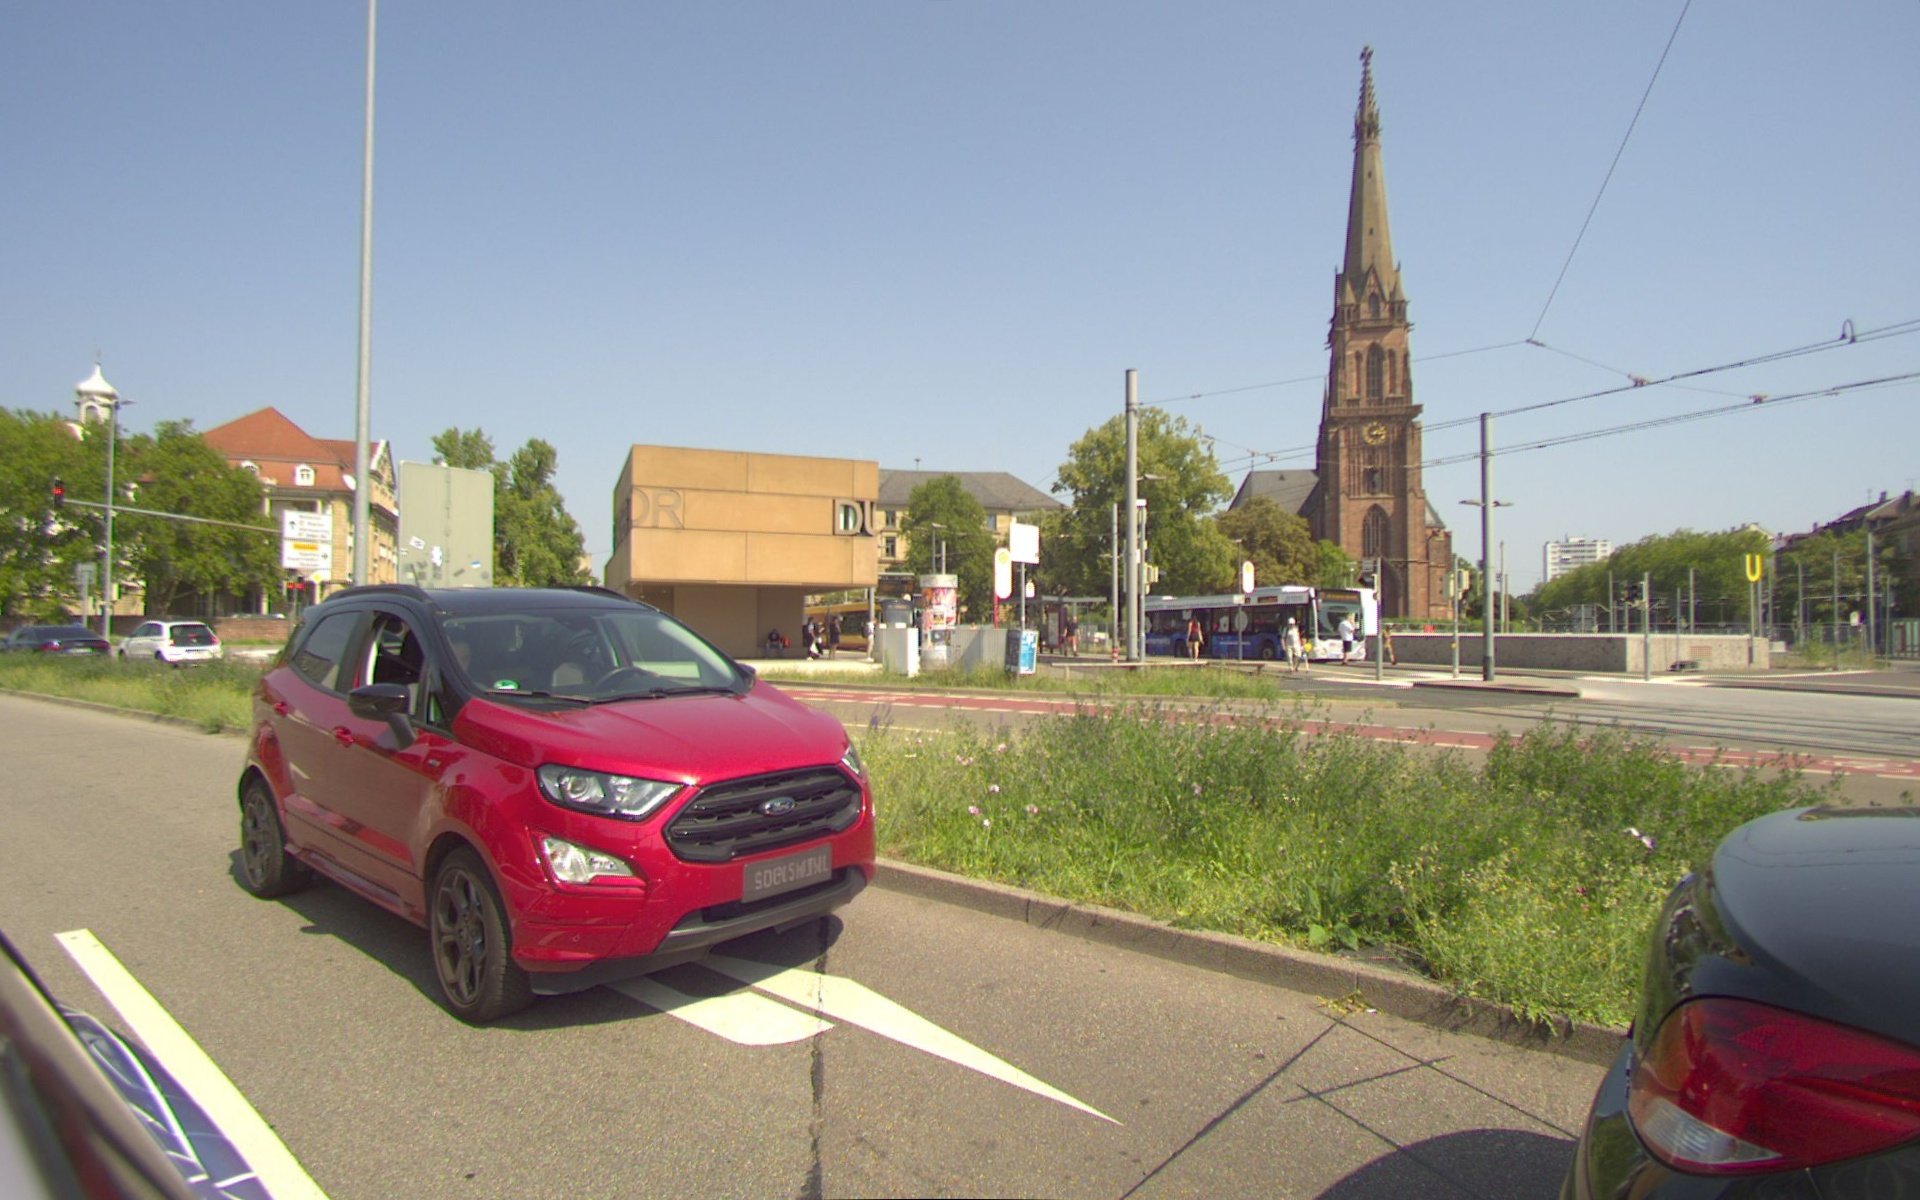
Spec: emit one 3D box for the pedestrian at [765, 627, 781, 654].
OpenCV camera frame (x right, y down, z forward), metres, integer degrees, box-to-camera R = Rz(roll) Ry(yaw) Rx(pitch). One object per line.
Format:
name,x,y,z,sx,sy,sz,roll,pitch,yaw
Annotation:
pedestrian,-7.513,1.623,40.681,0.530,1.108,0.543,1,-2,-18

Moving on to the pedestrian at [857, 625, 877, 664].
pedestrian,-3.662,1.746,39.826,0.541,1.508,0.532,-1,-3,39

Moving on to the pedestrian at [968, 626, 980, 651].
pedestrian,0.782,2.191,57.830,0.546,1.405,0.535,1,-2,-21

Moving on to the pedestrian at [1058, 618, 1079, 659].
pedestrian,4.820,1.708,45.020,0.792,1.837,0.535,1,-2,-21

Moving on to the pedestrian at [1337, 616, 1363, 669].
pedestrian,13.574,1.463,35.226,0.592,1.825,0.640,-1,0,-12

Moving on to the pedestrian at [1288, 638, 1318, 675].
pedestrian,10.933,1.808,32.270,0.627,1.134,0.604,-1,0,-21

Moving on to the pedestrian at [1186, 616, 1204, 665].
pedestrian,8.833,1.513,38.054,0.632,1.825,0.599,-1,0,16

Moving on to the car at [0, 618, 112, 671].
car,-25.897,1.254,28.936,3.466,1.437,1.510,-1,-2,32

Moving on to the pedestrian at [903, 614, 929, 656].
pedestrian,-1.621,1.289,37.295,0.605,1.508,0.761,-1,-3,39

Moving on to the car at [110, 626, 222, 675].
car,-25.313,1.576,32.251,3.460,1.490,1.512,-1,-2,27

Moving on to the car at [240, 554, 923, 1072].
car,-2.134,0.689,5.066,3.845,1.598,1.671,-2,-1,43

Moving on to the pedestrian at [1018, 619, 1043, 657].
pedestrian,3.451,1.876,49.777,0.913,1.837,0.940,1,-2,-21

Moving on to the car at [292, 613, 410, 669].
car,-21.435,1.397,35.619,3.898,1.868,1.851,0,-2,29

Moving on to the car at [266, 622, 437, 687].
car,-16.207,1.395,26.902,4.700,1.597,1.978,-1,-2,32

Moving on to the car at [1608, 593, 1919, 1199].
car,2.705,0.657,0.439,1.745,1.398,3.783,0,-1,-45

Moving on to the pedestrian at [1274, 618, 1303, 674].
pedestrian,10.367,1.443,31.910,0.527,1.724,0.695,1,-2,-23

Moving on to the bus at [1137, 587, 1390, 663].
bus,12.132,1.109,42.663,3.346,2.733,12.382,1,-2,-21

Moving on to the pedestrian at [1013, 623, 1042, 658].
pedestrian,3.322,1.976,49.667,1.060,1.709,1.068,1,-2,-21

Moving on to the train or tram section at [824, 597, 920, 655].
train or tram section,-6.138,1.791,67.211,2.658,3.465,13.464,1,-2,-21

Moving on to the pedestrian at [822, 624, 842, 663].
pedestrian,-5.039,1.702,39.920,0.541,1.508,0.532,-1,-3,39

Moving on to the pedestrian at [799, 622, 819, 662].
pedestrian,-5.807,1.606,38.984,0.541,1.508,0.532,-1,-3,39
